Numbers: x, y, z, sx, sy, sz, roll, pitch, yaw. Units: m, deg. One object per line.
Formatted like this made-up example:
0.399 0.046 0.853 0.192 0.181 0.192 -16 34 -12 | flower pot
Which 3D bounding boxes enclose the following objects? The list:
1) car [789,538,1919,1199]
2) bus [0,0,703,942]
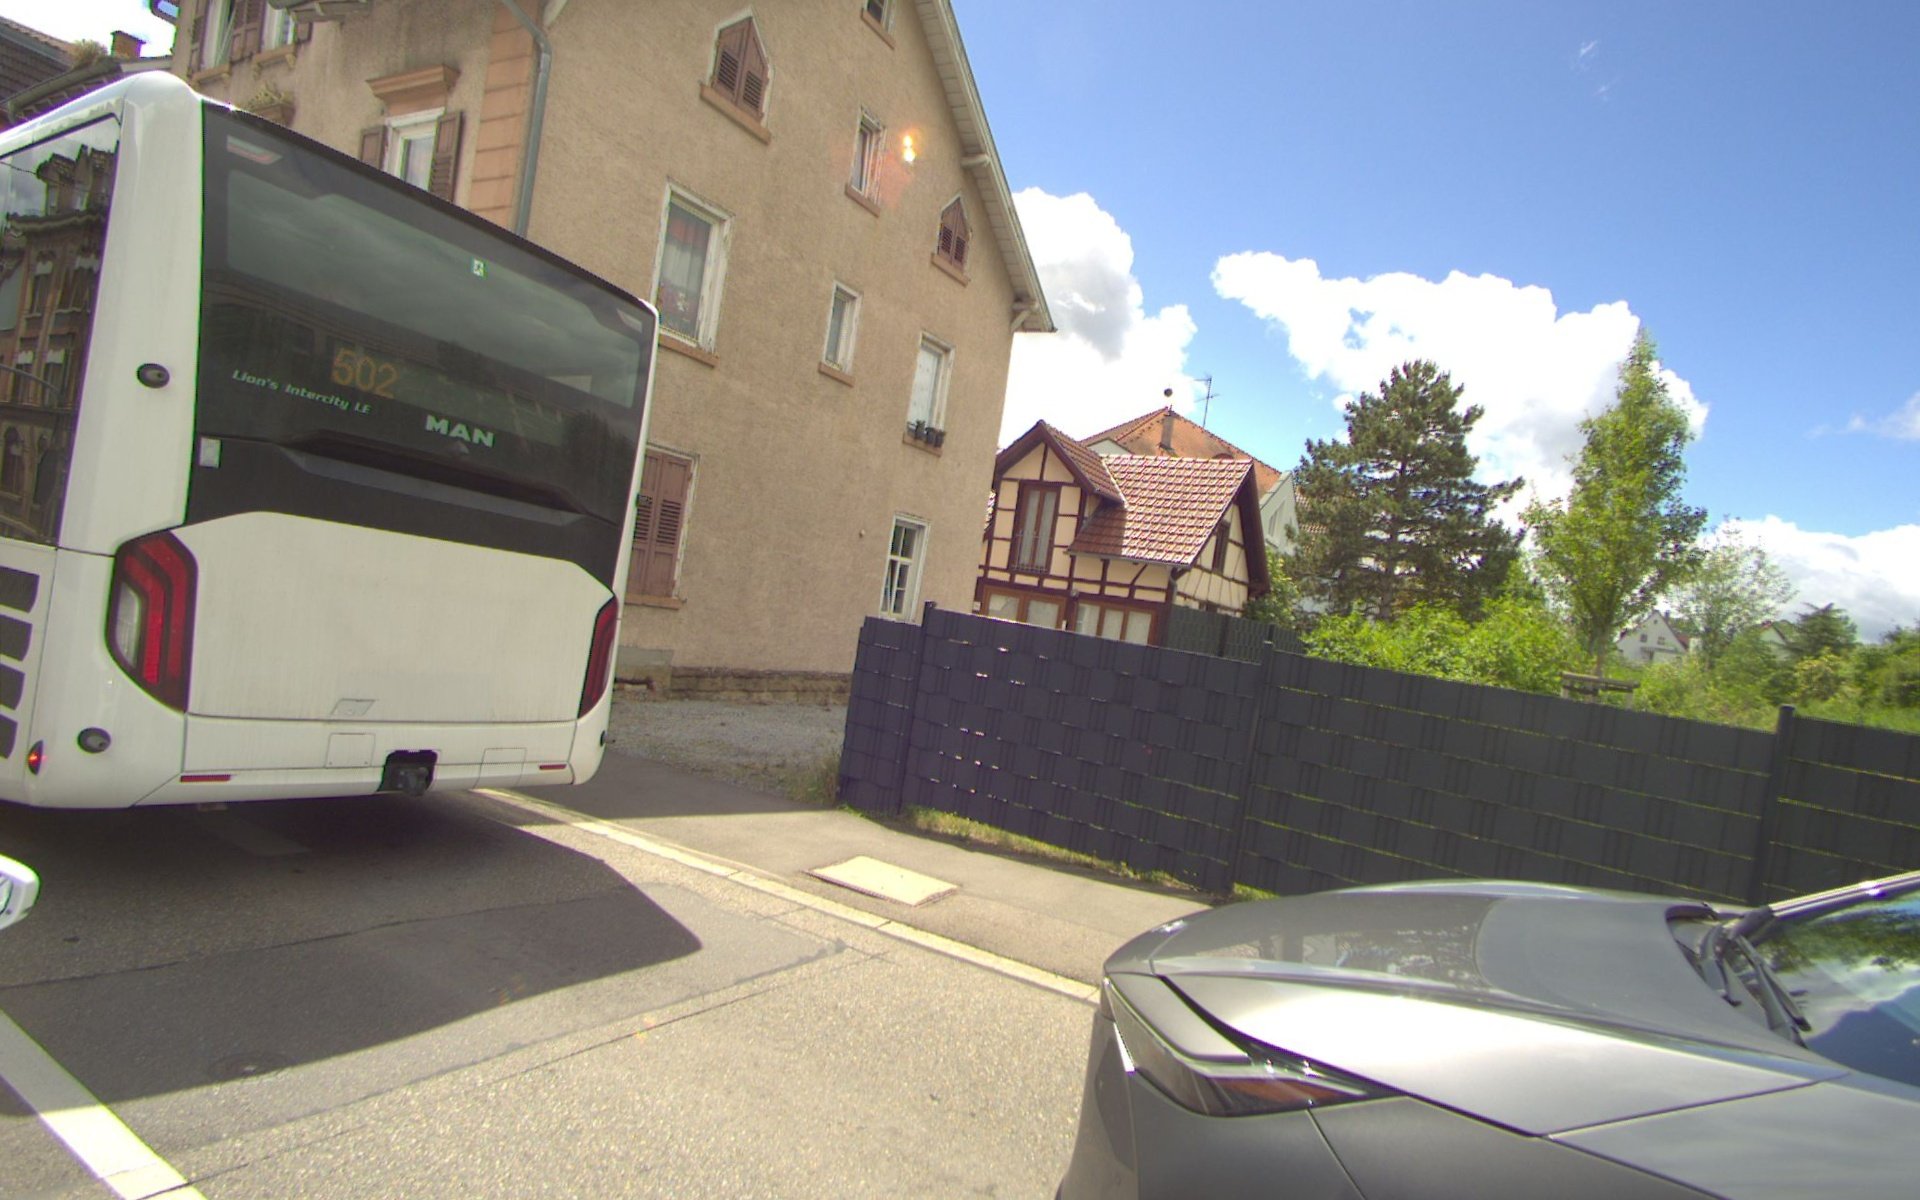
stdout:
2.174 1.048 1.420 4.605 1.631 1.924 7 -2 32 | car
-7.462 -0.935 7.719 12.256 3.194 2.676 7 0 32 | bus
